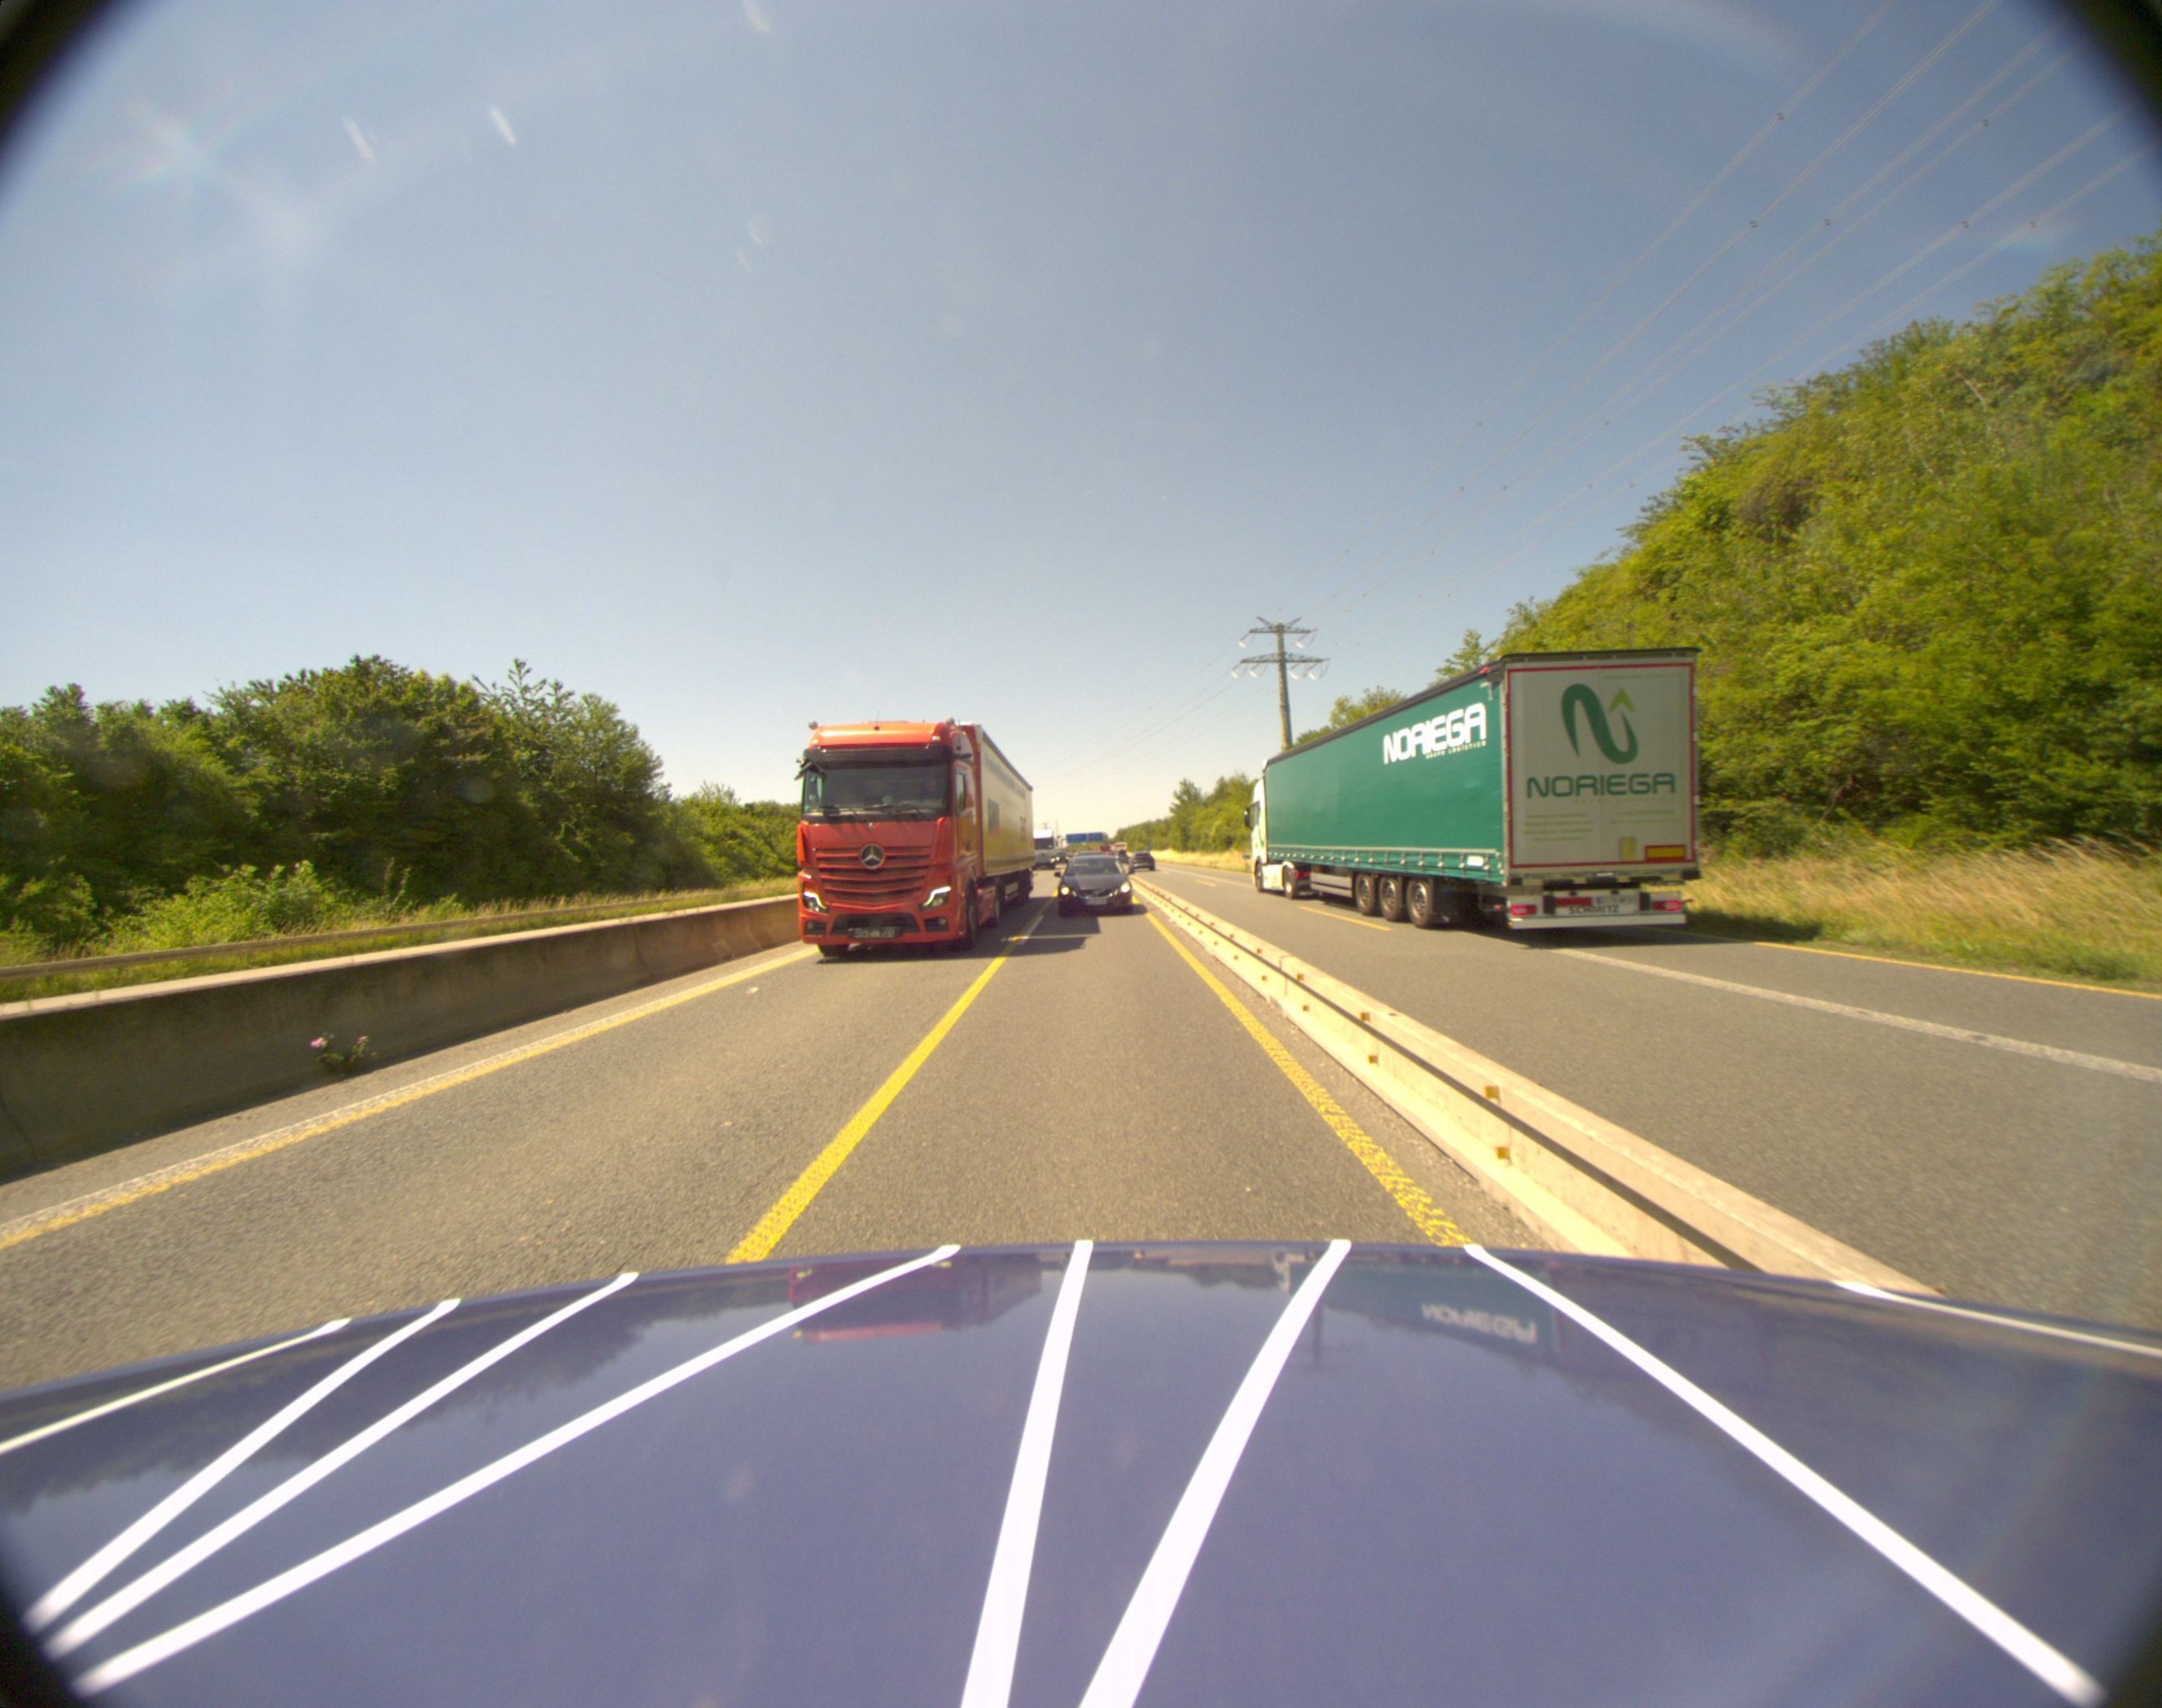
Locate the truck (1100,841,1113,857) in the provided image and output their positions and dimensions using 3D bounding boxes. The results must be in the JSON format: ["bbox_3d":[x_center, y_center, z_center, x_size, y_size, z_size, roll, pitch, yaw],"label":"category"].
[{"bbox_3d":[6.336,-1.251,189.819,2.810,3.754,11.377,-4,1,1],"label":"truck"}]

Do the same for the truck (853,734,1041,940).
[{"bbox_3d":[-3.002,-0.429,21.650,2.689,3.987,13.217,-2,1,1],"label":"truck"}]

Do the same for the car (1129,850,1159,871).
[{"bbox_3d":[4.749,0.457,57.983,1.904,1.496,4.275,-2,1,0],"label":"car"}]

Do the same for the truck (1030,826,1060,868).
[{"bbox_3d":[-3.663,-0.749,80.799,2.481,4.030,13.108,-2,0,0],"label":"truck"}]

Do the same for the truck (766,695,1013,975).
[{"bbox_3d":[-3.103,-0.322,14.478,2.689,3.987,6.724,-2,1,1],"label":"truck"}]

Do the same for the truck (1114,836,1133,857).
[{"bbox_3d":[8.182,-1.518,147.482,2.943,3.754,11.378,-4,1,2],"label":"truck"}]

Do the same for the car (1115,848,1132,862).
[{"bbox_3d":[5.167,0.133,92.243,1.904,1.507,4.275,-2,1,1],"label":"car"}]

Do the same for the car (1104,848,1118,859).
[{"bbox_3d":[4.635,-0.081,118.010,1.904,1.580,4.275,-2,1,1],"label":"car"}]

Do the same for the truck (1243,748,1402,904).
[{"bbox_3d":[7.104,-0.779,23.326,2.902,4.094,6.019,-2,1,0],"label":"truck"}]

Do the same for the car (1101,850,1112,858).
[{"bbox_3d":[4.610,0.008,139.909,1.855,1.413,4.348,-2,1,0],"label":"car"}]

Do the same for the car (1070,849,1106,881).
[{"bbox_3d":[0.415,0.521,40.973,1.767,1.523,4.698,-2,1,1],"label":"car"}]

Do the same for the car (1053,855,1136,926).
[{"bbox_3d":[0.337,0.818,19.059,1.767,1.411,4.698,-2,1,1],"label":"car"}]

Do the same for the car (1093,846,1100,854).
[{"bbox_3d":[4.372,-1.118,210.991,1.855,2.044,4.348,-2,1,0],"label":"car"}]

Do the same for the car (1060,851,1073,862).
[{"bbox_3d":[-2.094,0.384,110.943,1.767,1.523,4.698,-2,1,-1],"label":"car"}]

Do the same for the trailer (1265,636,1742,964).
[{"bbox_3d":[7.040,-0.734,16.393,2.899,4.101,13.242,-2,0,0],"label":"trailer"}]
